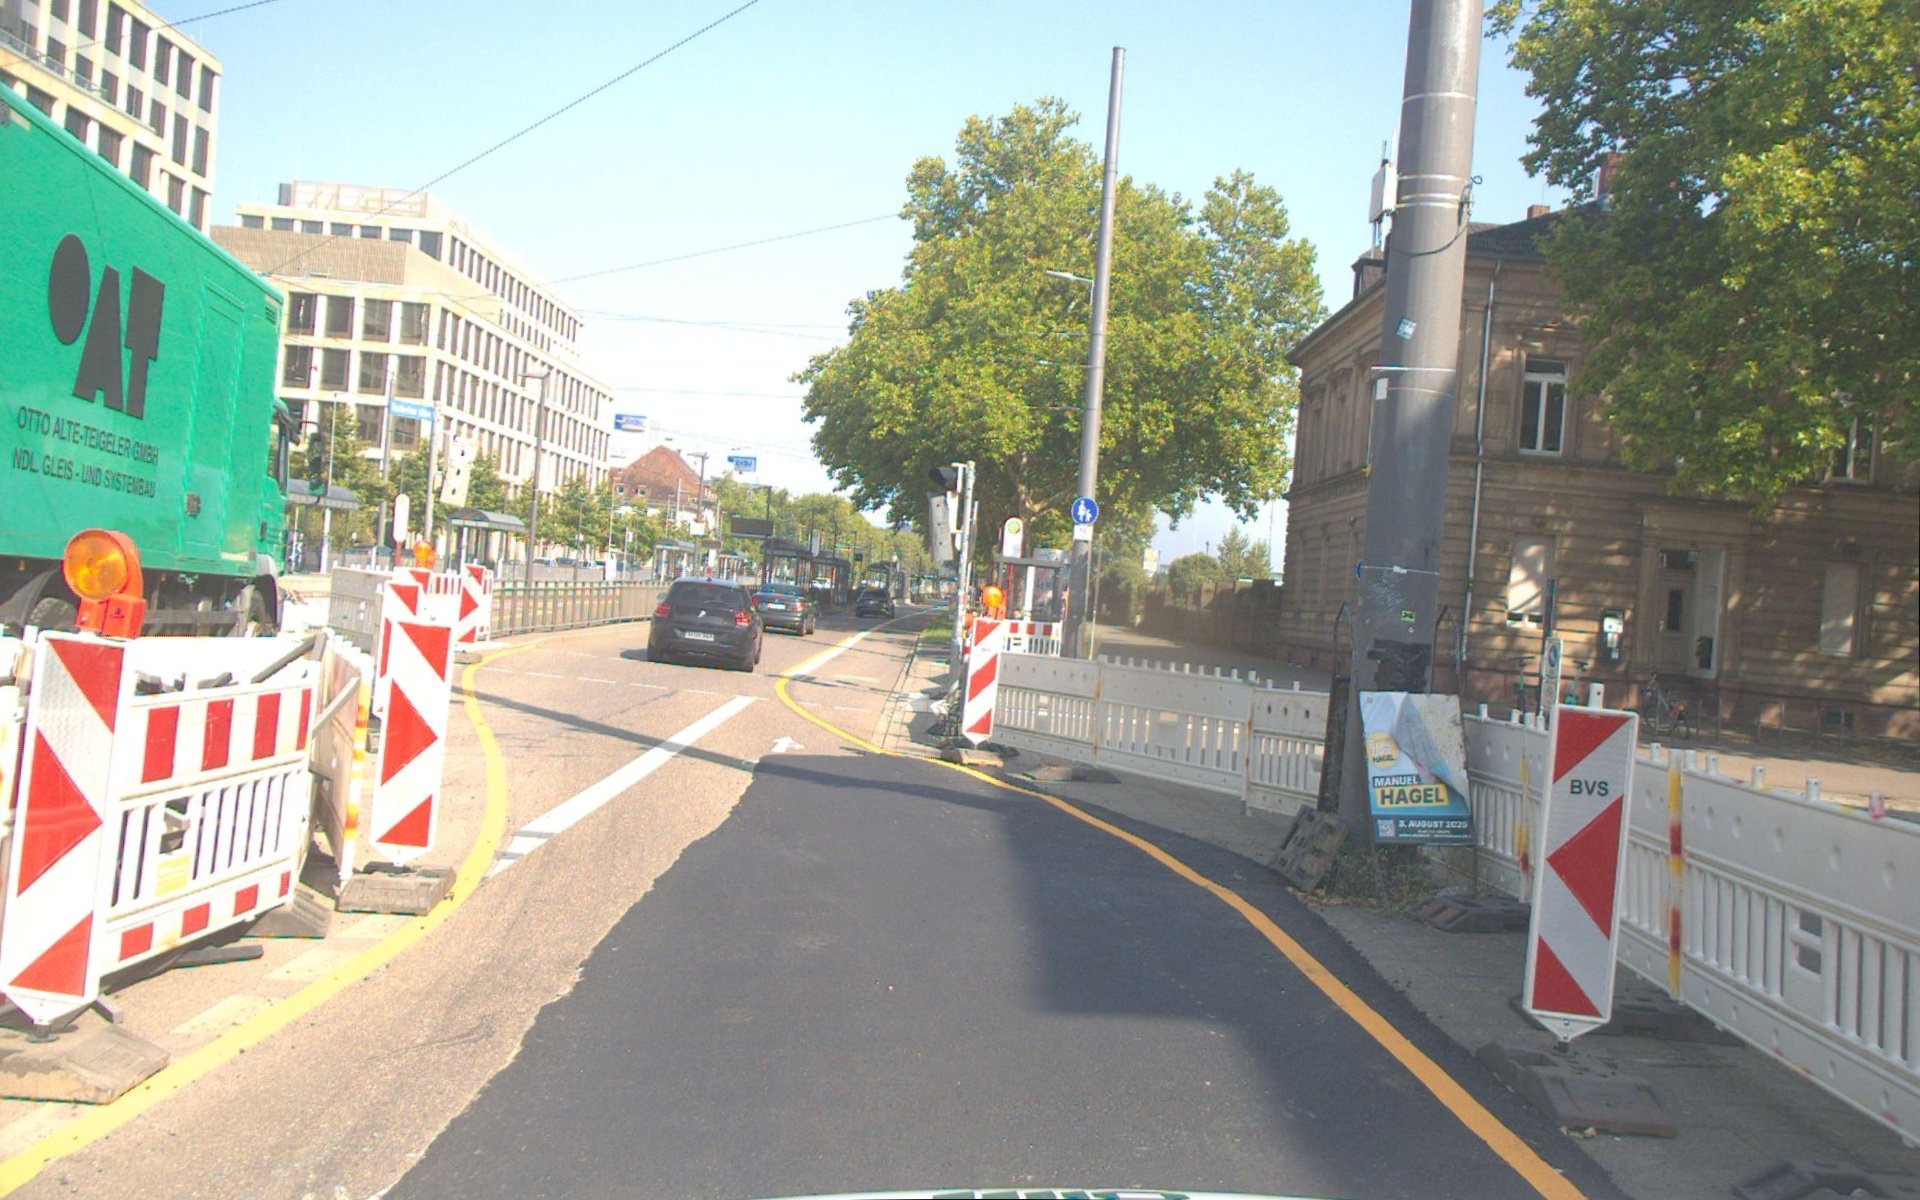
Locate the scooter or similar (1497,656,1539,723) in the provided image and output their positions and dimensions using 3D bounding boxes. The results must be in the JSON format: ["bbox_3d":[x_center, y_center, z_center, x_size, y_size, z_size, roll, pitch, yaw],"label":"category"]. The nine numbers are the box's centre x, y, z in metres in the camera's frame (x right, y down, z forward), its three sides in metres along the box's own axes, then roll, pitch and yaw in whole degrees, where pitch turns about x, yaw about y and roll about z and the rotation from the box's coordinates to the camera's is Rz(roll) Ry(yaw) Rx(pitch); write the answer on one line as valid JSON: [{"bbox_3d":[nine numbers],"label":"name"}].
[{"bbox_3d":[10.726,1.707,31.803,0.400,1.186,1.226,4,0,5],"label":"scooter or similar"}]

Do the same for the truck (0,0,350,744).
[{"bbox_3d":[-7.005,-1.294,12.261,2.756,3.854,8.997,3,0,-9],"label":"truck"}]

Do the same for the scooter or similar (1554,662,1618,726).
[{"bbox_3d":[12.205,1.830,32.259,1.070,1.152,0.312,4,0,-3],"label":"scooter or similar"}]

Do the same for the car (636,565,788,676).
[{"bbox_3d":[-4.139,0.333,28.213,1.869,1.563,4.000,6,0,0],"label":"car"}]

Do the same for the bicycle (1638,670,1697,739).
[{"bbox_3d":[13.604,1.993,31.828,0.488,1.186,1.630,4,0,5],"label":"bicycle"}]

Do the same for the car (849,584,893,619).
[{"bbox_3d":[-4.410,0.051,82.616,1.869,1.564,4.000,4,0,0],"label":"car"}]

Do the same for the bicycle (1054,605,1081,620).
[{"bbox_3d":[8.928,1.051,137.954,2.130,1.095,0.743,4,0,-1],"label":"bicycle"}]

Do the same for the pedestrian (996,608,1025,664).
[{"bbox_3d":[1.223,0.868,39.955,0.596,1.299,0.759,3,0,-2],"label":"pedestrian"}]

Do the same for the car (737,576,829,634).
[{"bbox_3d":[-5.039,0.143,47.620,1.952,1.466,4.001,4,0,2],"label":"car"}]

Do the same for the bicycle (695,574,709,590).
[{"bbox_3d":[-20.830,-1.469,133.330,0.461,1.167,1.484,4,-1,15],"label":"bicycle"}]
